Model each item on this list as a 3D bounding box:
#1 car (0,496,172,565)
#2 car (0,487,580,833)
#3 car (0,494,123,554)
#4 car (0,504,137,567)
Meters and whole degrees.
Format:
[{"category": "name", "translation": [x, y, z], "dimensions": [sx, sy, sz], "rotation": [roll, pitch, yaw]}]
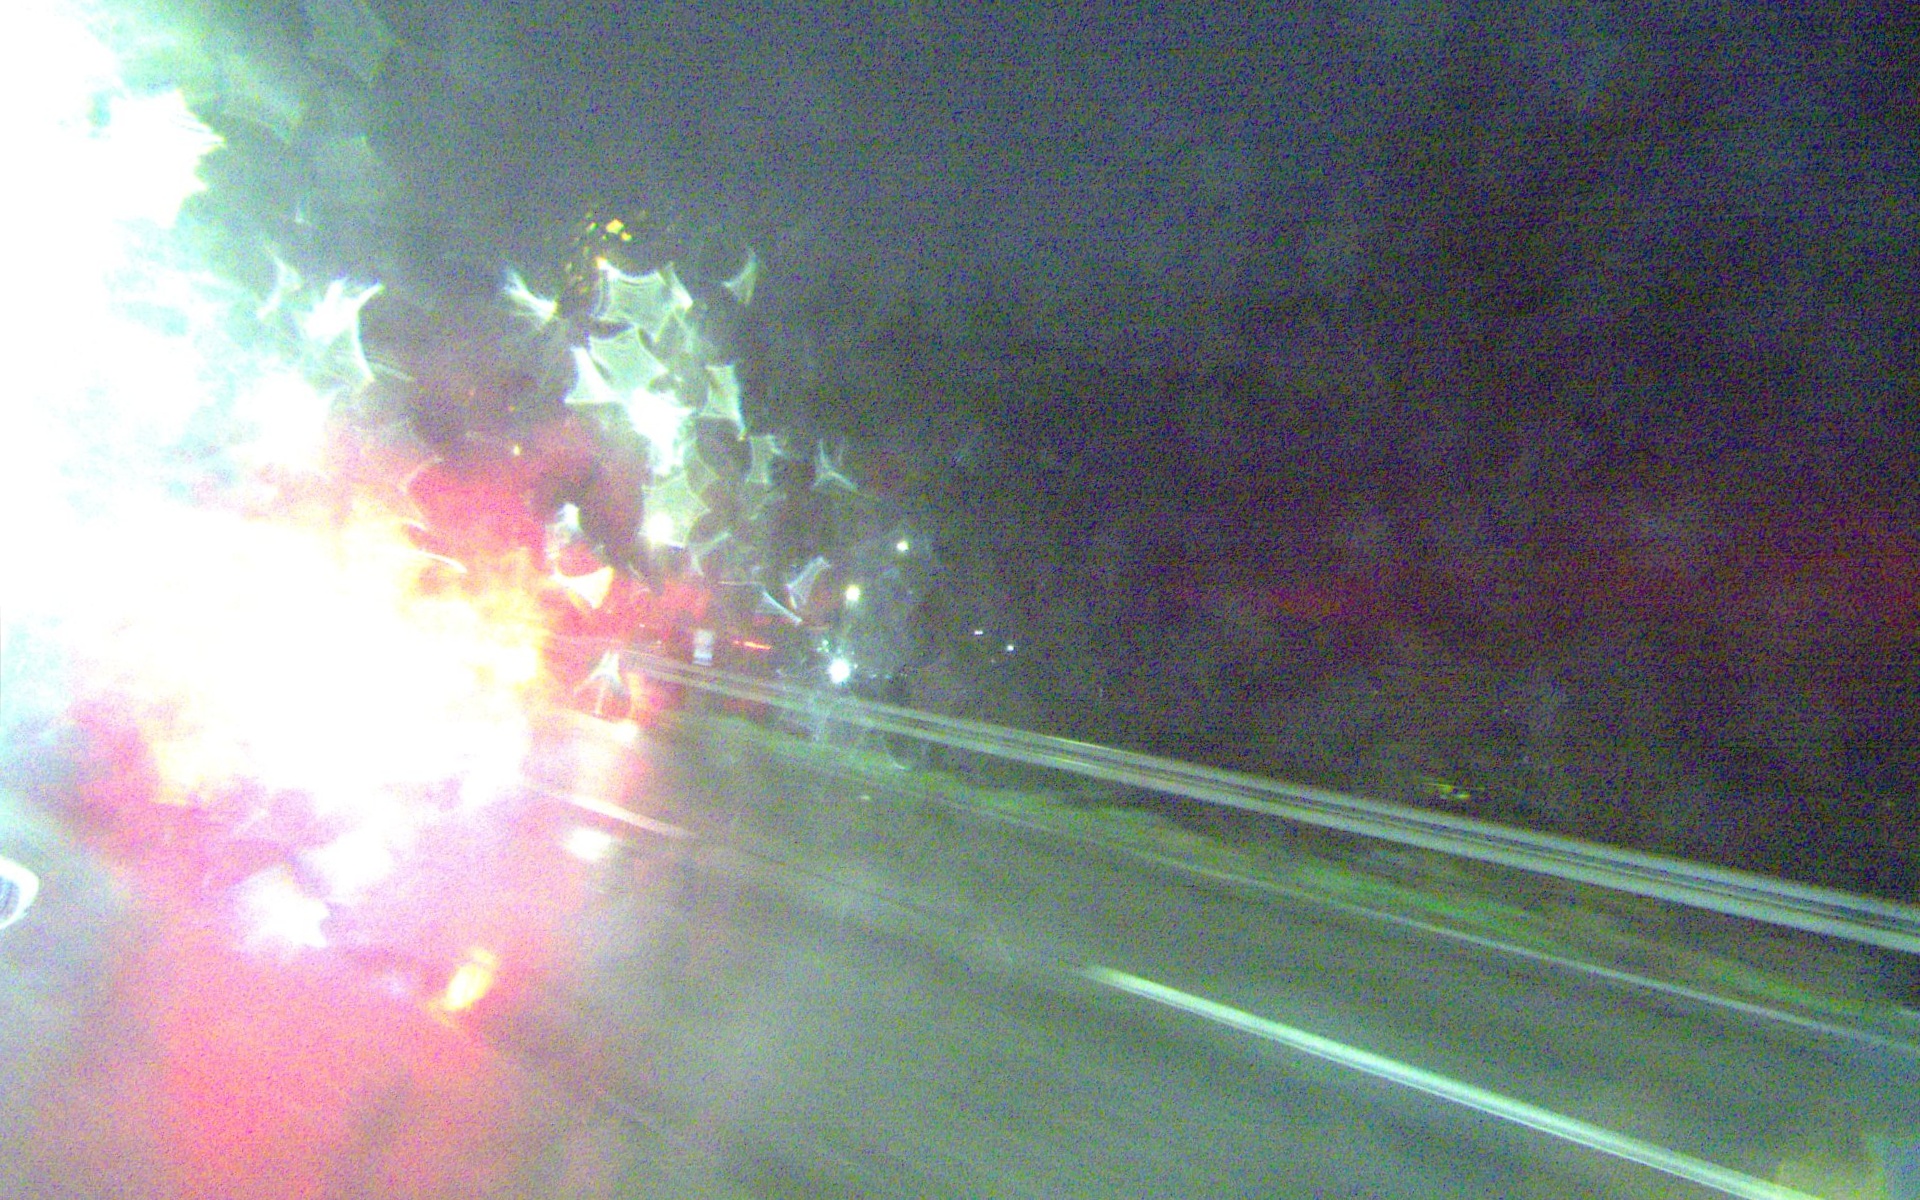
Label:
[{"category": "car", "translation": [-31.280, -2.441, 35.910], "dimensions": [1.824, 1.535, 4.499], "rotation": [9, -3, 28]}, {"category": "car", "translation": [-4.530, 0.265, 6.476], "dimensions": [3.894, 1.538, 1.682], "rotation": [6, -3, 30]}, {"category": "car", "translation": [-34.008, -2.877, 37.197], "dimensions": [1.824, 1.535, 4.179], "rotation": [9, -3, 28]}, {"category": "car", "translation": [-29.006, -2.122, 31.909], "dimensions": [1.716, 1.360, 4.057], "rotation": [9, -3, 28]}]
